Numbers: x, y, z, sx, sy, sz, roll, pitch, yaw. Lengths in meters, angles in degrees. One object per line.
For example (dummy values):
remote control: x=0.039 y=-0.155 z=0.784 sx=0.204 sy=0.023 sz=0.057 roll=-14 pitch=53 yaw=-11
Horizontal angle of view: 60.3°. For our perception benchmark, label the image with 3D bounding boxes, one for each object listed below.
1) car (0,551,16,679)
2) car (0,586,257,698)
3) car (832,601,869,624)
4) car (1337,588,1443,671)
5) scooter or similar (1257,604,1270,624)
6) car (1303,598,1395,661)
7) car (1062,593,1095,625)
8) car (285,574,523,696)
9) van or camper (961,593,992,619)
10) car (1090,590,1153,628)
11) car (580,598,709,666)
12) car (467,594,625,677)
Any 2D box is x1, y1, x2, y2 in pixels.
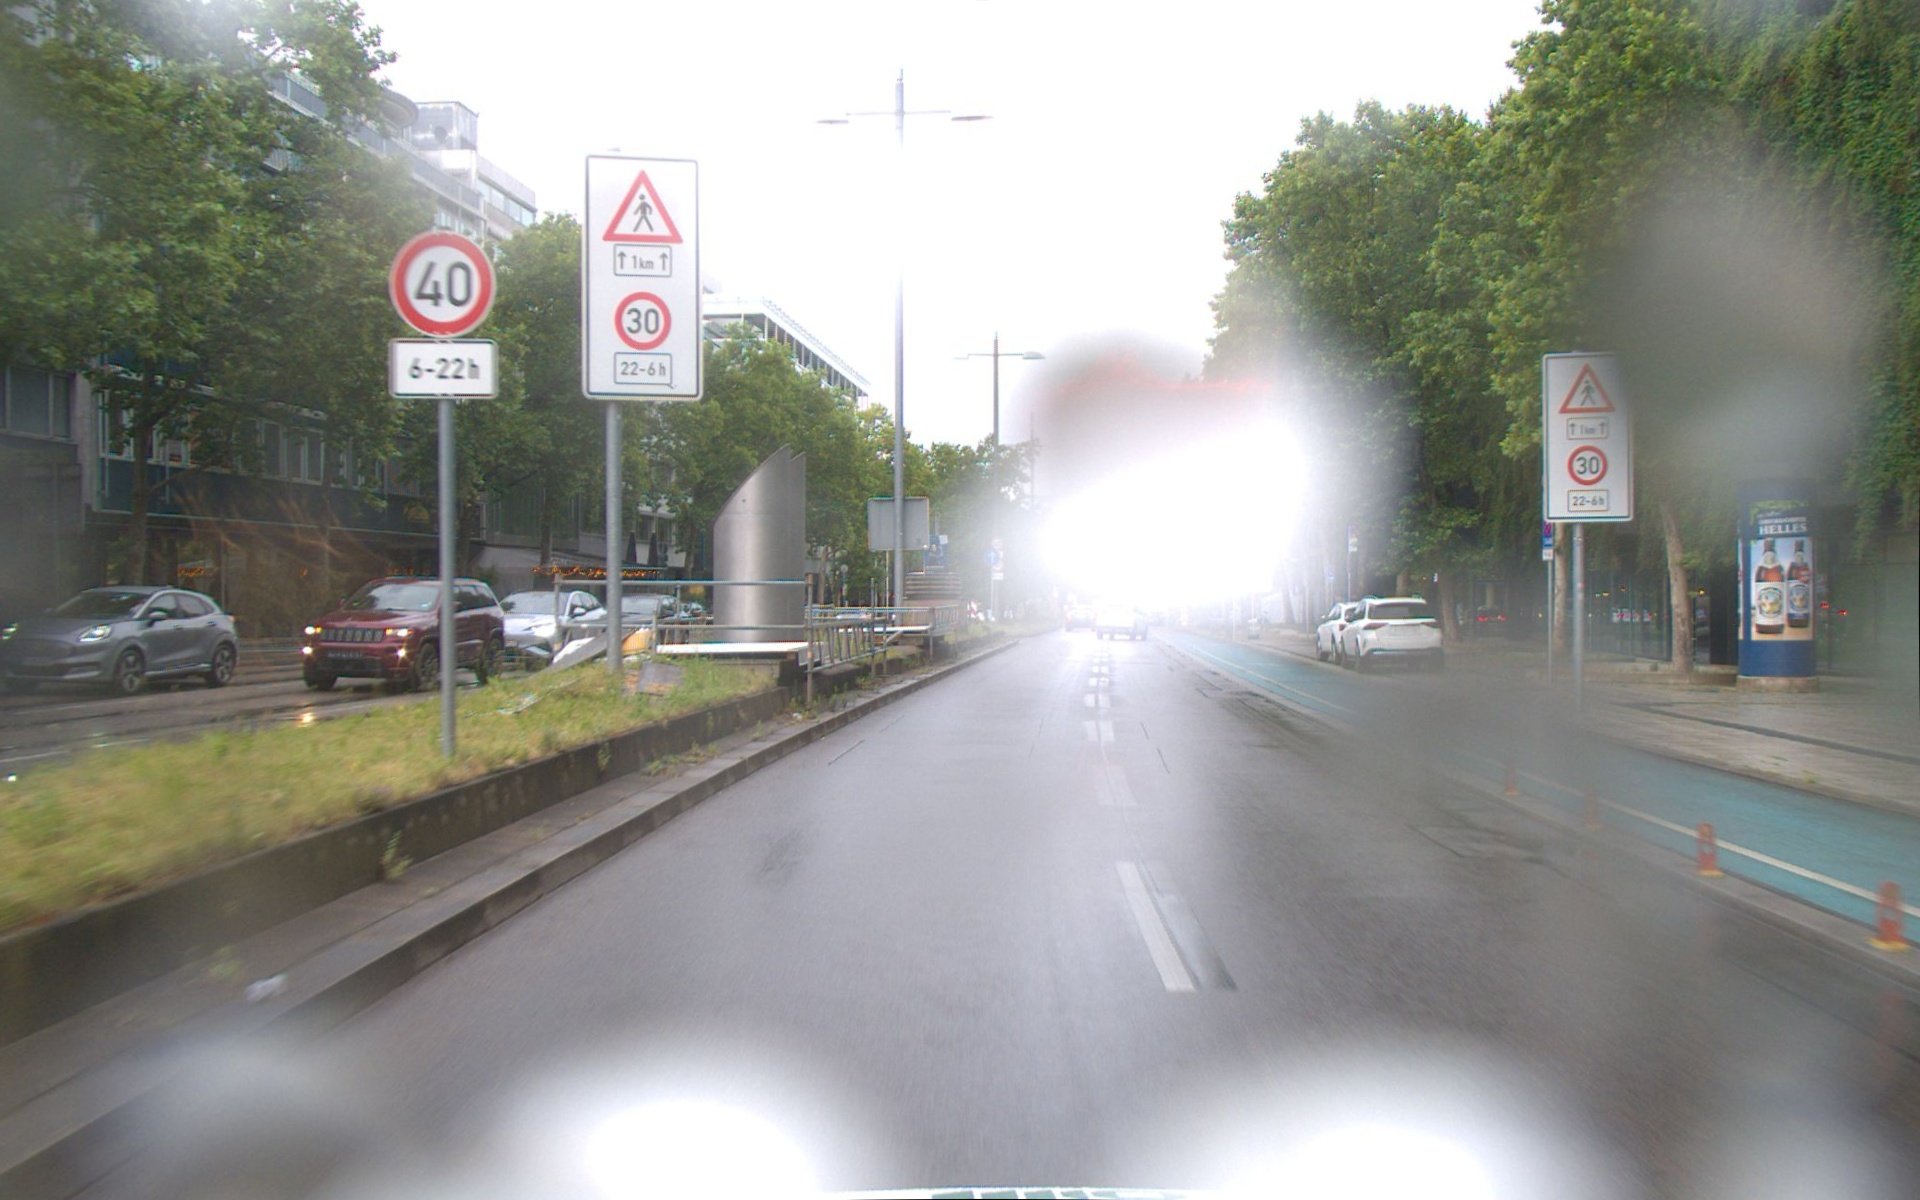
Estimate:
car: x=-12.863 y=0.173 z=18.908 sx=1.716 sy=1.592 sz=4.001 roll=1 pitch=0 yaw=2
car: x=-12.548 y=0.552 z=24.897 sx=1.683 sy=1.517 sz=4.572 roll=1 pitch=0 yaw=4
car: x=-7.077 y=0.780 z=107.061 sx=1.926 sy=1.434 sz=4.958 roll=0 pitch=0 yaw=2
car: x=10.437 y=0.662 z=40.502 sx=1.804 sy=1.870 sz=5.098 roll=-1 pitch=0 yaw=7
scooter or similar: x=19.802 y=0.909 z=107.843 sx=0.375 sy=1.249 sz=1.073 roll=0 pitch=0 yaw=41
car: x=10.883 y=0.781 z=46.561 sx=1.804 sy=1.661 sz=4.789 roll=1 pitch=0 yaw=4
car: x=7.239 y=0.526 z=100.805 sx=1.951 sy=1.865 sz=4.002 roll=1 pitch=0 yaw=5
car: x=-8.928 y=0.498 z=27.088 sx=1.797 sy=1.797 sz=5.112 roll=1 pitch=0 yaw=5
van or camper: x=1.268 y=0.451 z=125.768 sx=1.951 sy=1.947 sz=5.254 roll=1 pitch=0 yaw=5
car: x=7.485 y=0.397 z=76.286 sx=1.951 sy=1.684 sz=4.891 roll=1 pitch=0 yaw=17
car: x=-7.887 y=0.768 z=41.790 sx=1.873 sy=1.579 sz=4.545 roll=1 pitch=0 yaw=8
car: x=-8.595 y=0.681 z=34.766 sx=1.698 sy=1.601 sz=4.835 roll=1 pitch=0 yaw=5
